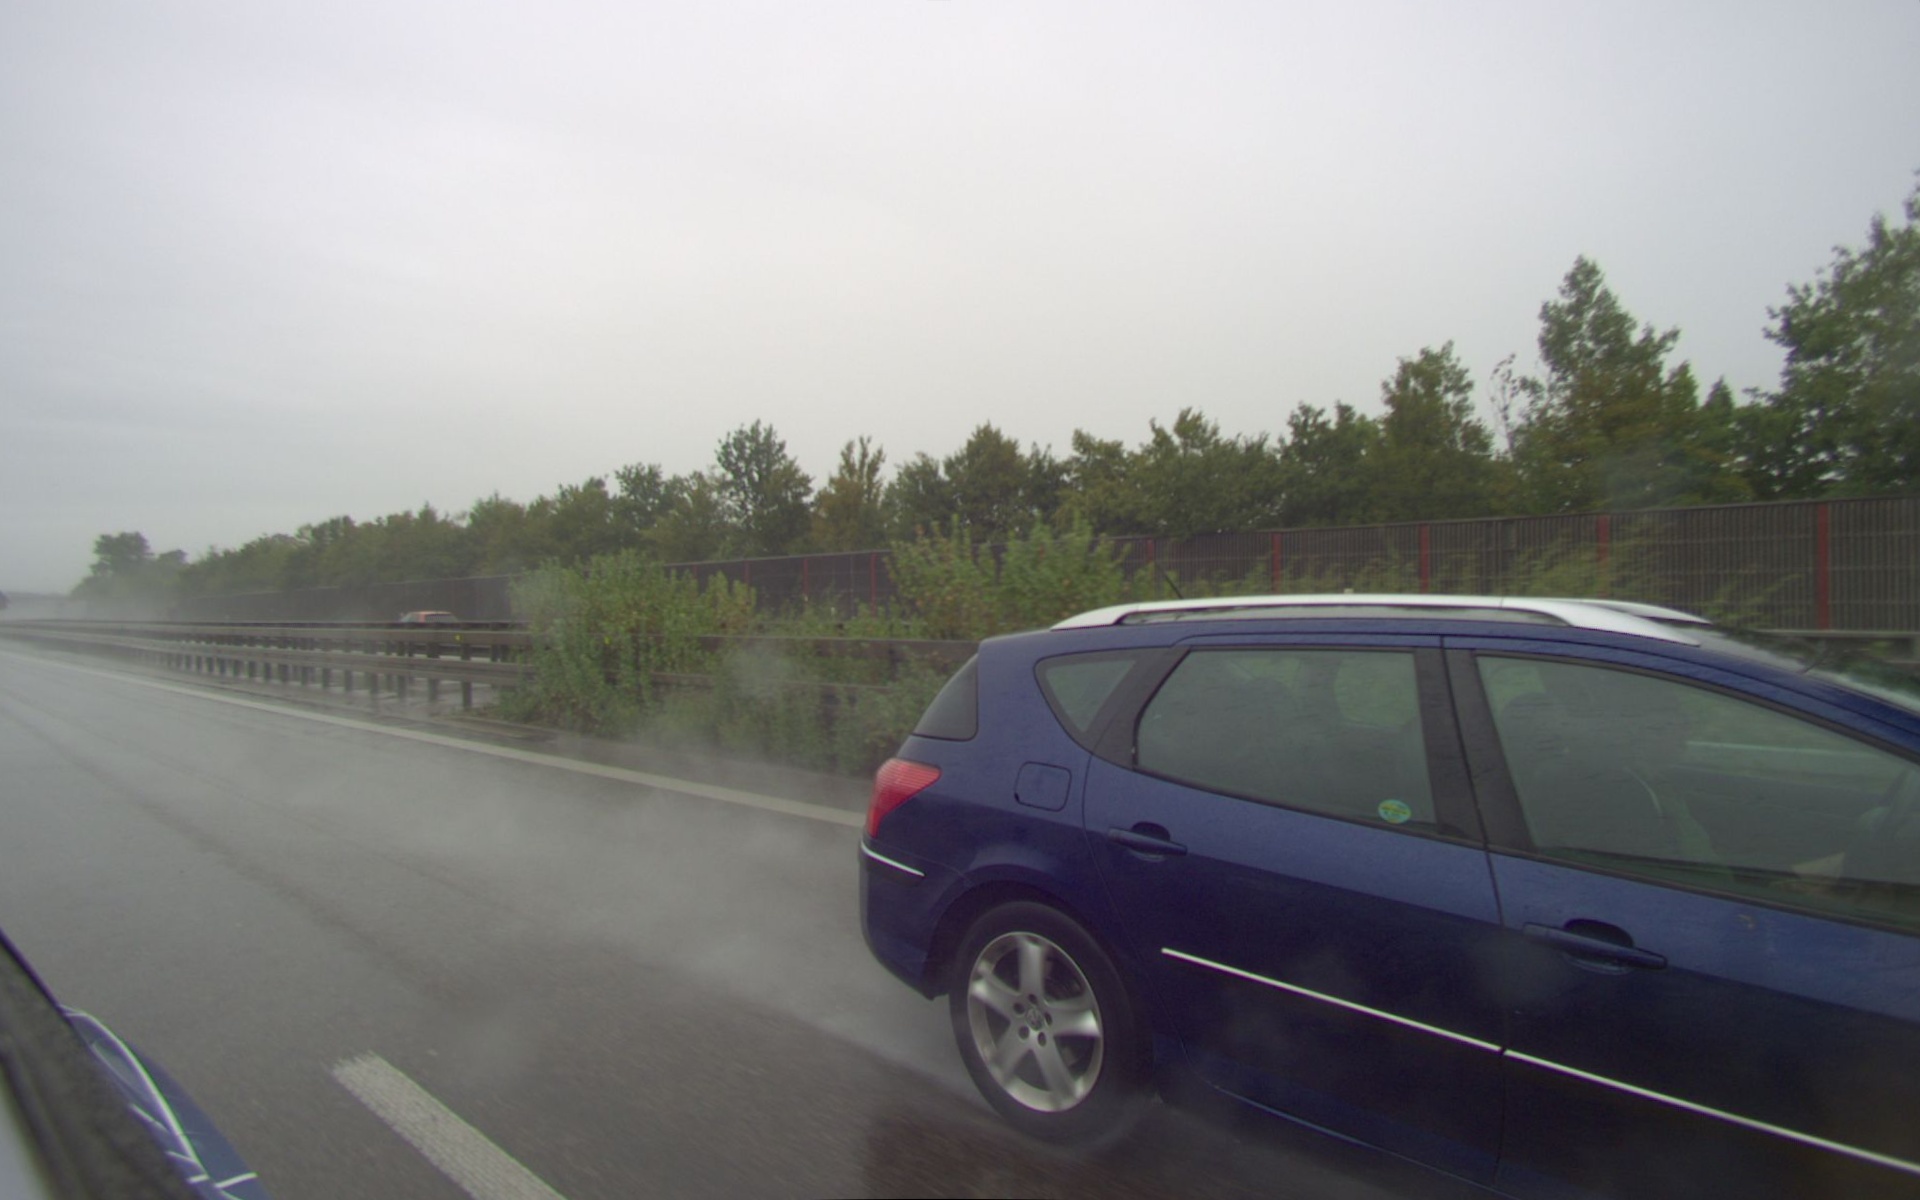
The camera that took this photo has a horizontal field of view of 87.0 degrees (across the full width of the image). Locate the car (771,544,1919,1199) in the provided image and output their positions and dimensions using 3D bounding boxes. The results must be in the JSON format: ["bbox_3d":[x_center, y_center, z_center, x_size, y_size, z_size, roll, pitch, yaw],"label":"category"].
[{"bbox_3d":[2.028,0.662,2.247,5.154,1.496,2.033,-2,-1,41],"label":"car"}]

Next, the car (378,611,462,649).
[{"bbox_3d":[-21.365,1.157,39.979,3.739,1.393,1.729,-1,0,41],"label":"car"}]

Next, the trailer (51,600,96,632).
[{"bbox_3d":[-136.088,2.451,155.298,12.241,4.731,3.828,-2,-1,42],"label":"trailer"}]
